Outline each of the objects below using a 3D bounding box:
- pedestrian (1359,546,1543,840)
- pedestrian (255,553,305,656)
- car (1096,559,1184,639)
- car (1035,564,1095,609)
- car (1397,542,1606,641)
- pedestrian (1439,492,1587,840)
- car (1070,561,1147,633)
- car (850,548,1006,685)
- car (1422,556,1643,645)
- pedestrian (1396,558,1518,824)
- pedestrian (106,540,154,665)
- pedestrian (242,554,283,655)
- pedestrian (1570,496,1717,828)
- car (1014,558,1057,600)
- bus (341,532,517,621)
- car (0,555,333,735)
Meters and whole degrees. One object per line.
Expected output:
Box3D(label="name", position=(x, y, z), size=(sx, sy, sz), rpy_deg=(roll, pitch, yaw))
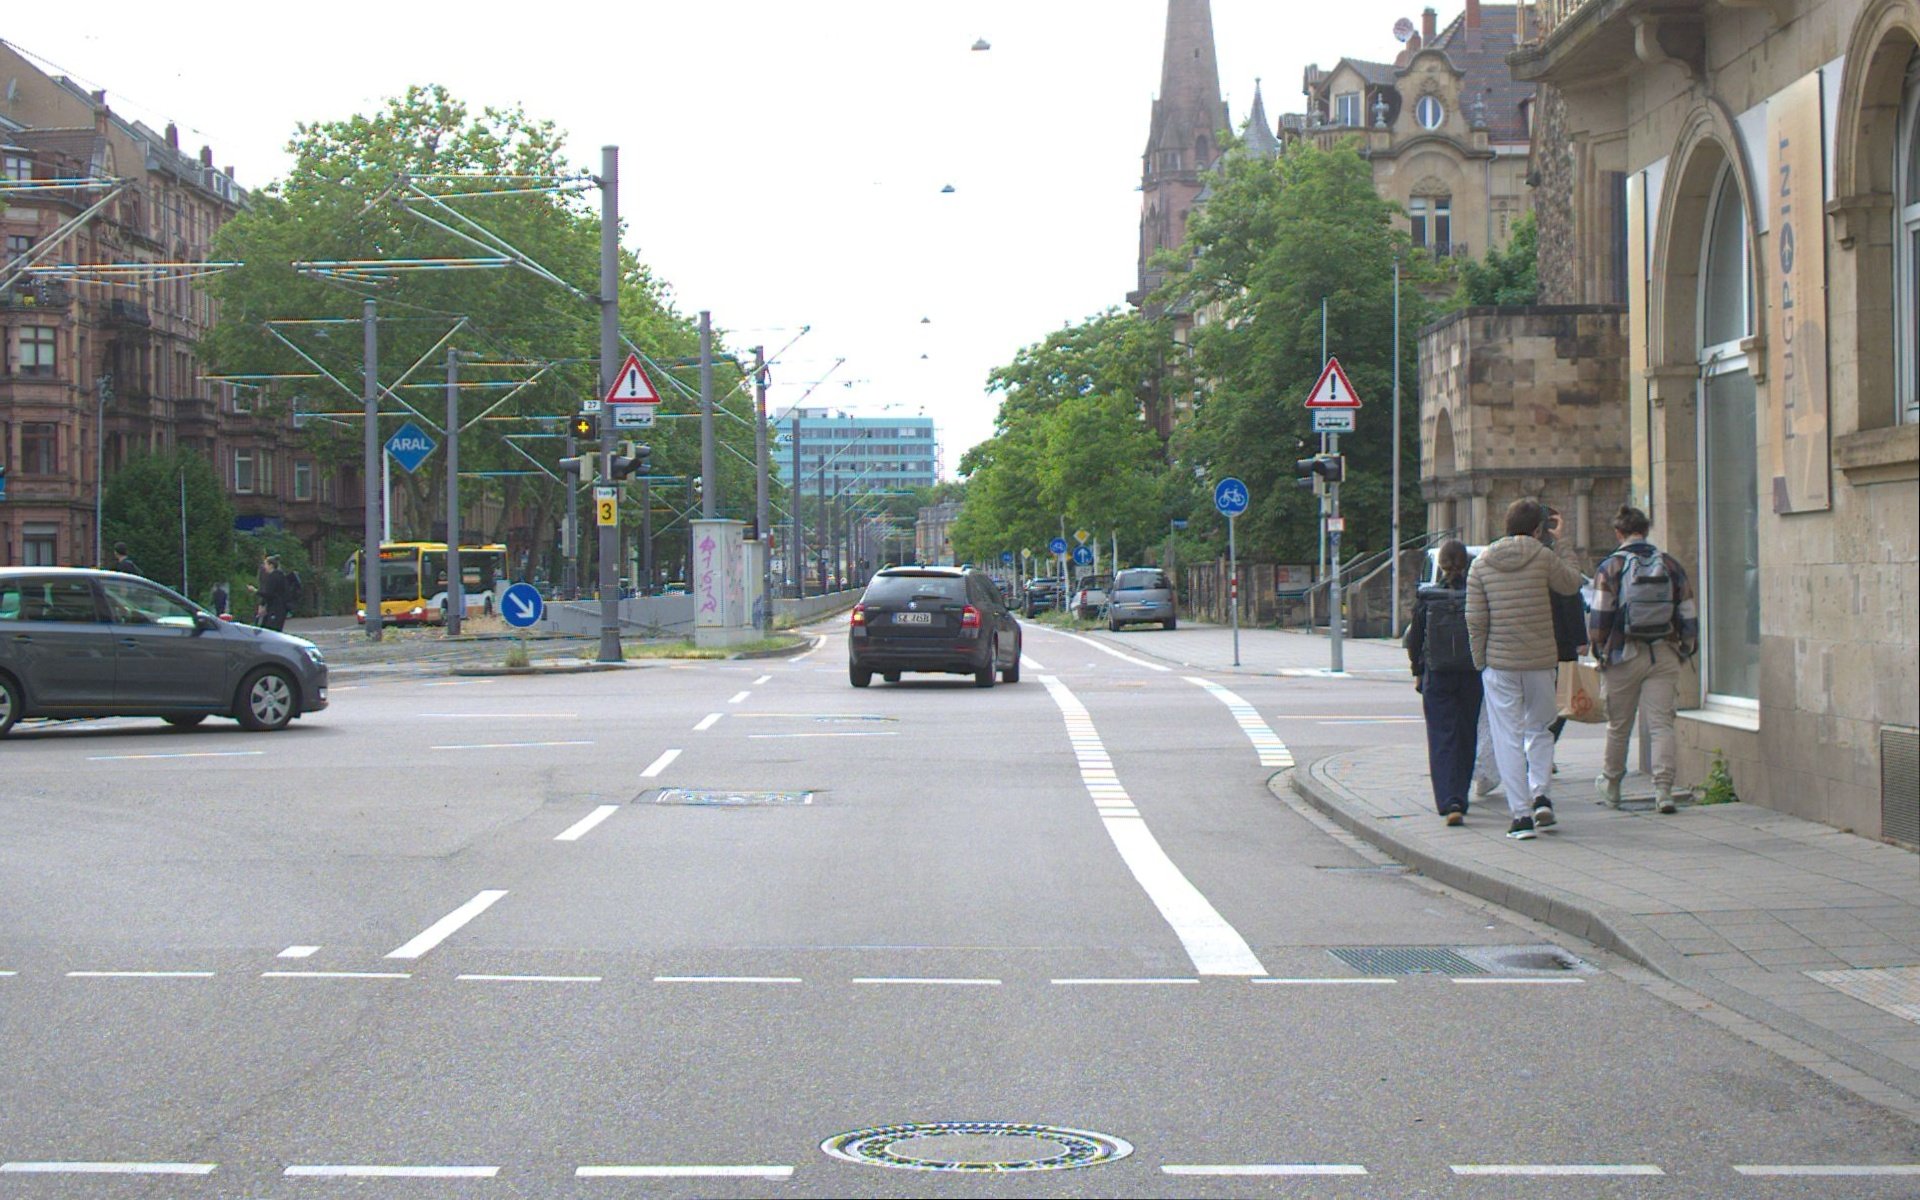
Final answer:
Box3D(label="pedestrian", position=(2.848, 0.523, 19.911), size=(0.627, 1.647, 0.994), rpy_deg=(1, 0, 37))
Box3D(label="pedestrian", position=(-10.229, 0.066, 51.723), size=(0.653, 1.532, 0.466), rpy_deg=(1, 0, -5))
Box3D(label="car", position=(4.691, -0.038, 90.077), size=(1.993, 2.007, 4.000), rpy_deg=(1, 0, -1))
Box3D(label="car", position=(3.910, -0.494, 128.479), size=(1.993, 1.602, 4.164), rpy_deg=(-2, 0, -1))
Box3D(label="car", position=(10.734, -0.172, 68.312), size=(3.799, 1.897, 2.000), rpy_deg=(1, 0, 0))
Box3D(label="pedestrian", position=(2.979, 0.342, 18.477), size=(0.583, 1.807, 1.014), rpy_deg=(1, 0, 19))
Box3D(label="car", position=(4.285, -0.100, 99.666), size=(1.993, 2.007, 4.000), rpy_deg=(1, 0, -1))
Box3D(label="car", position=(-0.393, 0.182, 42.442), size=(1.806, 1.581, 4.341), rpy_deg=(1, 0, -1))
Box3D(label="car", position=(10.770, 0.007, 64.902), size=(3.799, 1.595, 2.000), rpy_deg=(1, 0, 0))
Box3D(label="pedestrian", position=(3.053, 0.547, 21.143), size=(0.700, 1.587, 0.831), rpy_deg=(1, 0, 8))
Box3D(label="pedestrian", position=(-11.917, 0.034, 49.357), size=(0.573, 1.788, 0.519), rpy_deg=(1, 0, -5))
Box3D(label="pedestrian", position=(-10.597, 0.067, 52.253), size=(0.545, 1.532, 0.466), rpy_deg=(1, 0, -5))
Box3D(label="pedestrian", position=(3.806, 0.337, 19.203), size=(0.626, 1.772, 1.134), rpy_deg=(-3, 0, 7))
Box3D(label="car", position=(3.757, -1.053, 172.380), size=(1.993, 2.007, 4.000), rpy_deg=(1, 0, -1))
Box3D(label="bus", position=(-19.692, -0.859, 128.516), size=(3.085, 3.101, 13.091), rpy_deg=(1, 0, 7))
Box3D(label="car", position=(-7.604, 0.352, 29.527), size=(3.981, 1.464, 1.841), rpy_deg=(-1, 1, -39))
